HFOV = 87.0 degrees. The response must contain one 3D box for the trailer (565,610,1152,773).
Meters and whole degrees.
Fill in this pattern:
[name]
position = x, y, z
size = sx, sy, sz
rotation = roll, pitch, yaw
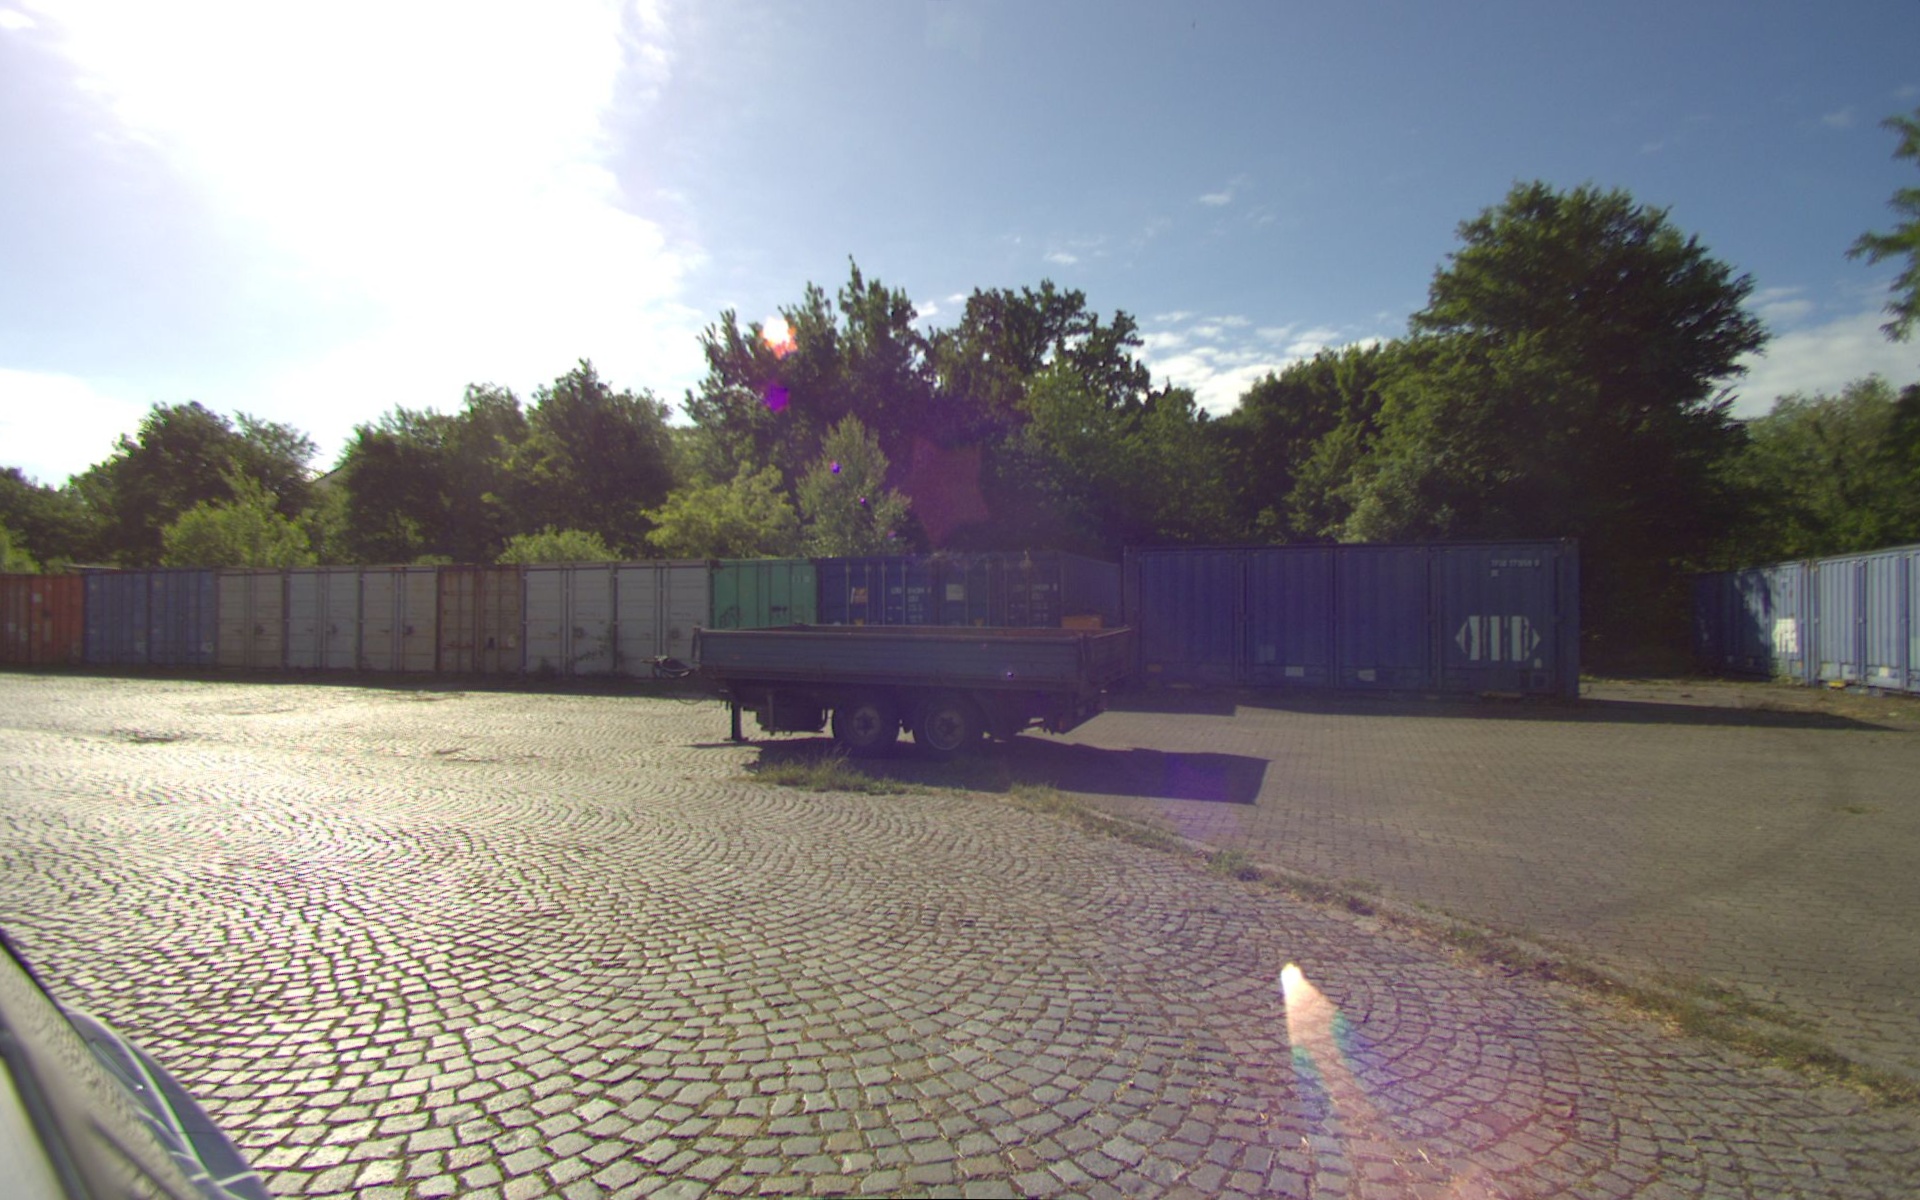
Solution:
[trailer]
position = -1.170, 0.945, 12.130
size = 6.445, 1.529, 2.836
rotation = -1, -1, 21
